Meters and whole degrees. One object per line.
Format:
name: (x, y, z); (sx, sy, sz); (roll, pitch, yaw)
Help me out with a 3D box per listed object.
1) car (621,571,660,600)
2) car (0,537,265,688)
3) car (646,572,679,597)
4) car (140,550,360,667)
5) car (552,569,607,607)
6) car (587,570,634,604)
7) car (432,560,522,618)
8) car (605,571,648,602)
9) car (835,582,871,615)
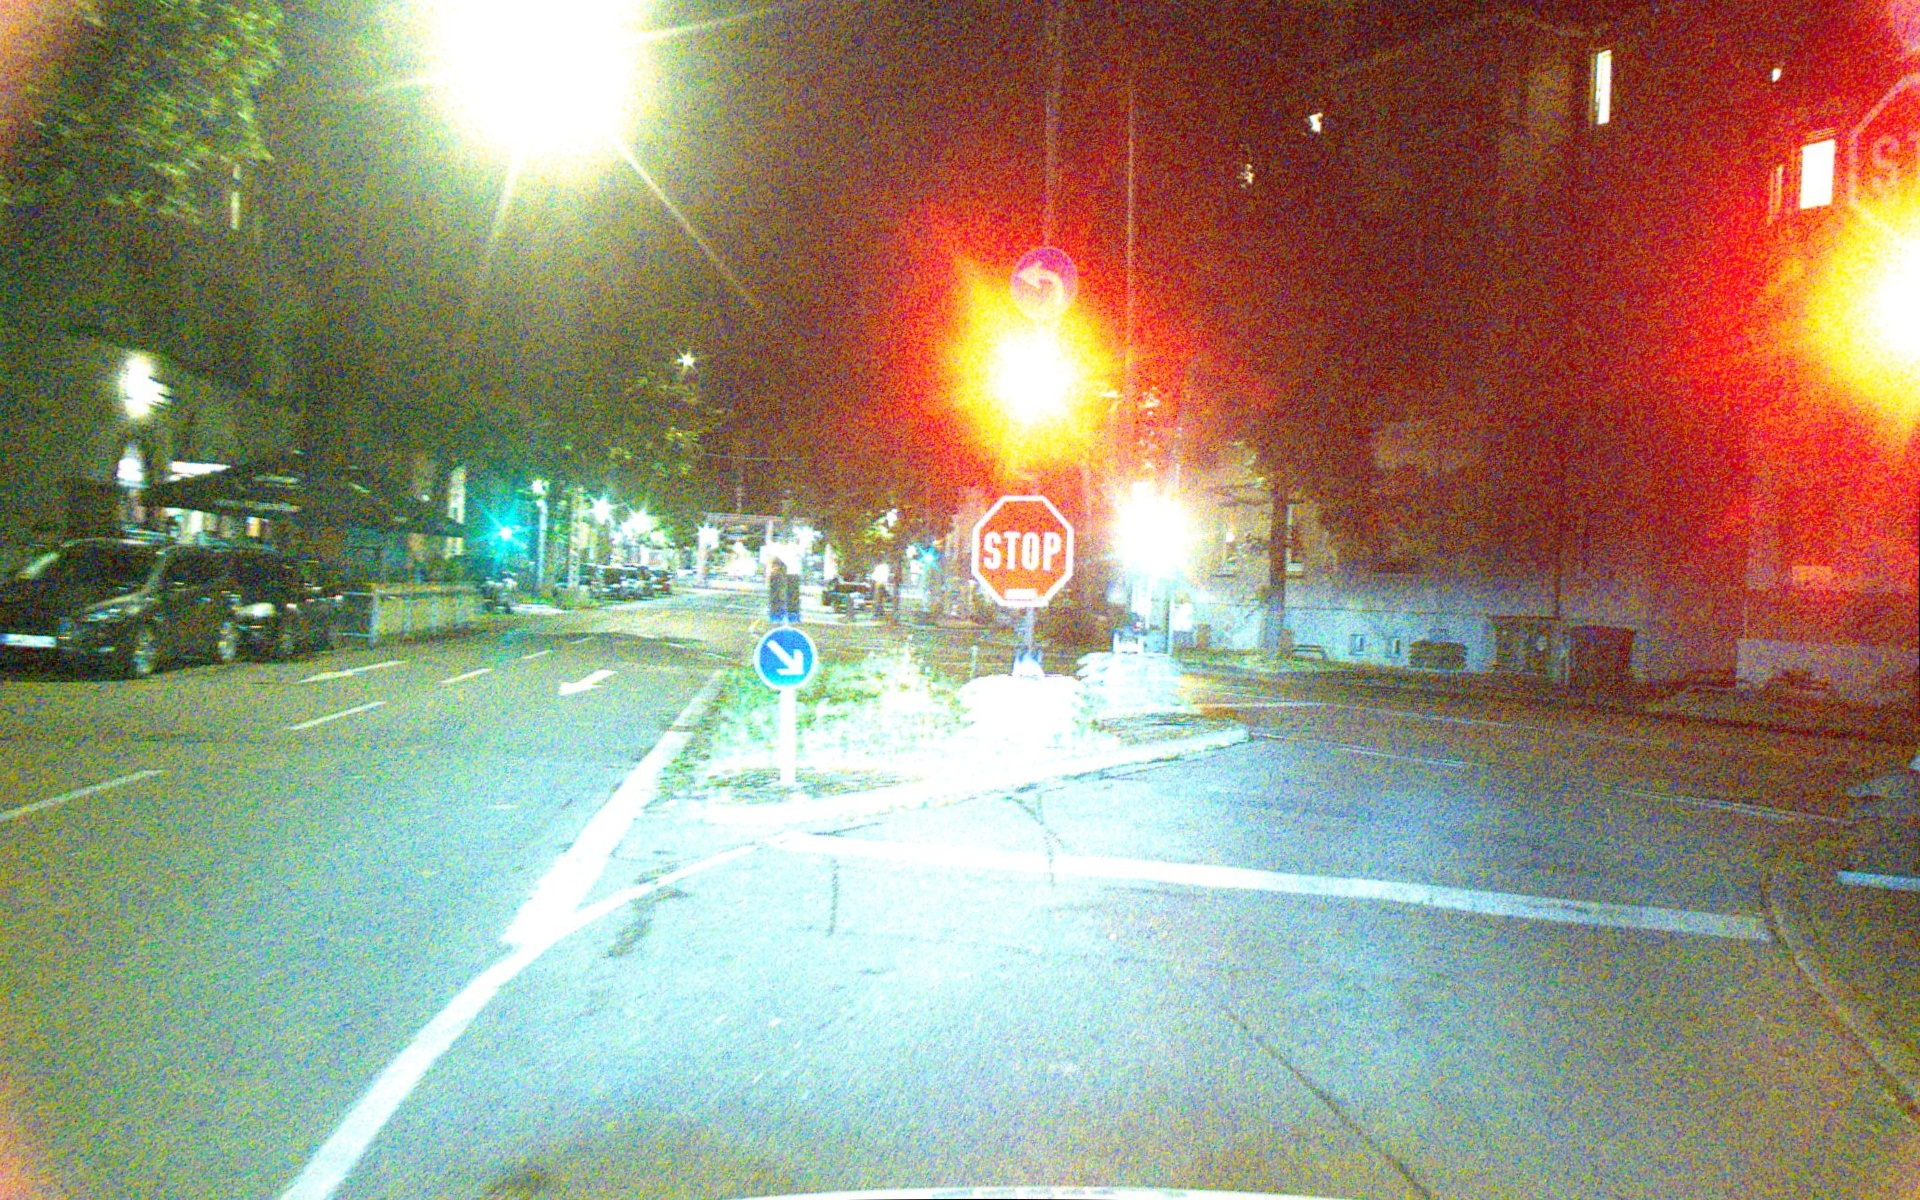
car: (-16.906, -0.752, 87.695); (1.619, 1.456, 3.995); (2, 0, -6)
car: (-9.950, 0.098, 19.551); (1.863, 1.497, 4.446); (4, 0, -6)
car: (-18.200, -0.949, 101.354); (1.619, 1.456, 3.995); (2, 0, -6)
car: (-10.383, 0.104, 24.522); (1.769, 1.507, 4.317); (2, 0, -7)
car: (-15.320, -0.487, 66.698); (1.619, 1.456, 3.995); (2, 0, -6)
car: (-15.756, -0.590, 74.781); (1.619, 1.456, 3.995); (2, 0, -6)
car: (-13.200, -0.307, 45.385); (1.619, 1.456, 3.995); (2, 0, -6)
car: (-16.291, -0.656, 80.843); (1.619, 1.456, 3.995); (2, 0, -6)
car: (-5.116, -0.085, 78.554); (1.619, 1.456, 3.996); (2, 0, -4)
